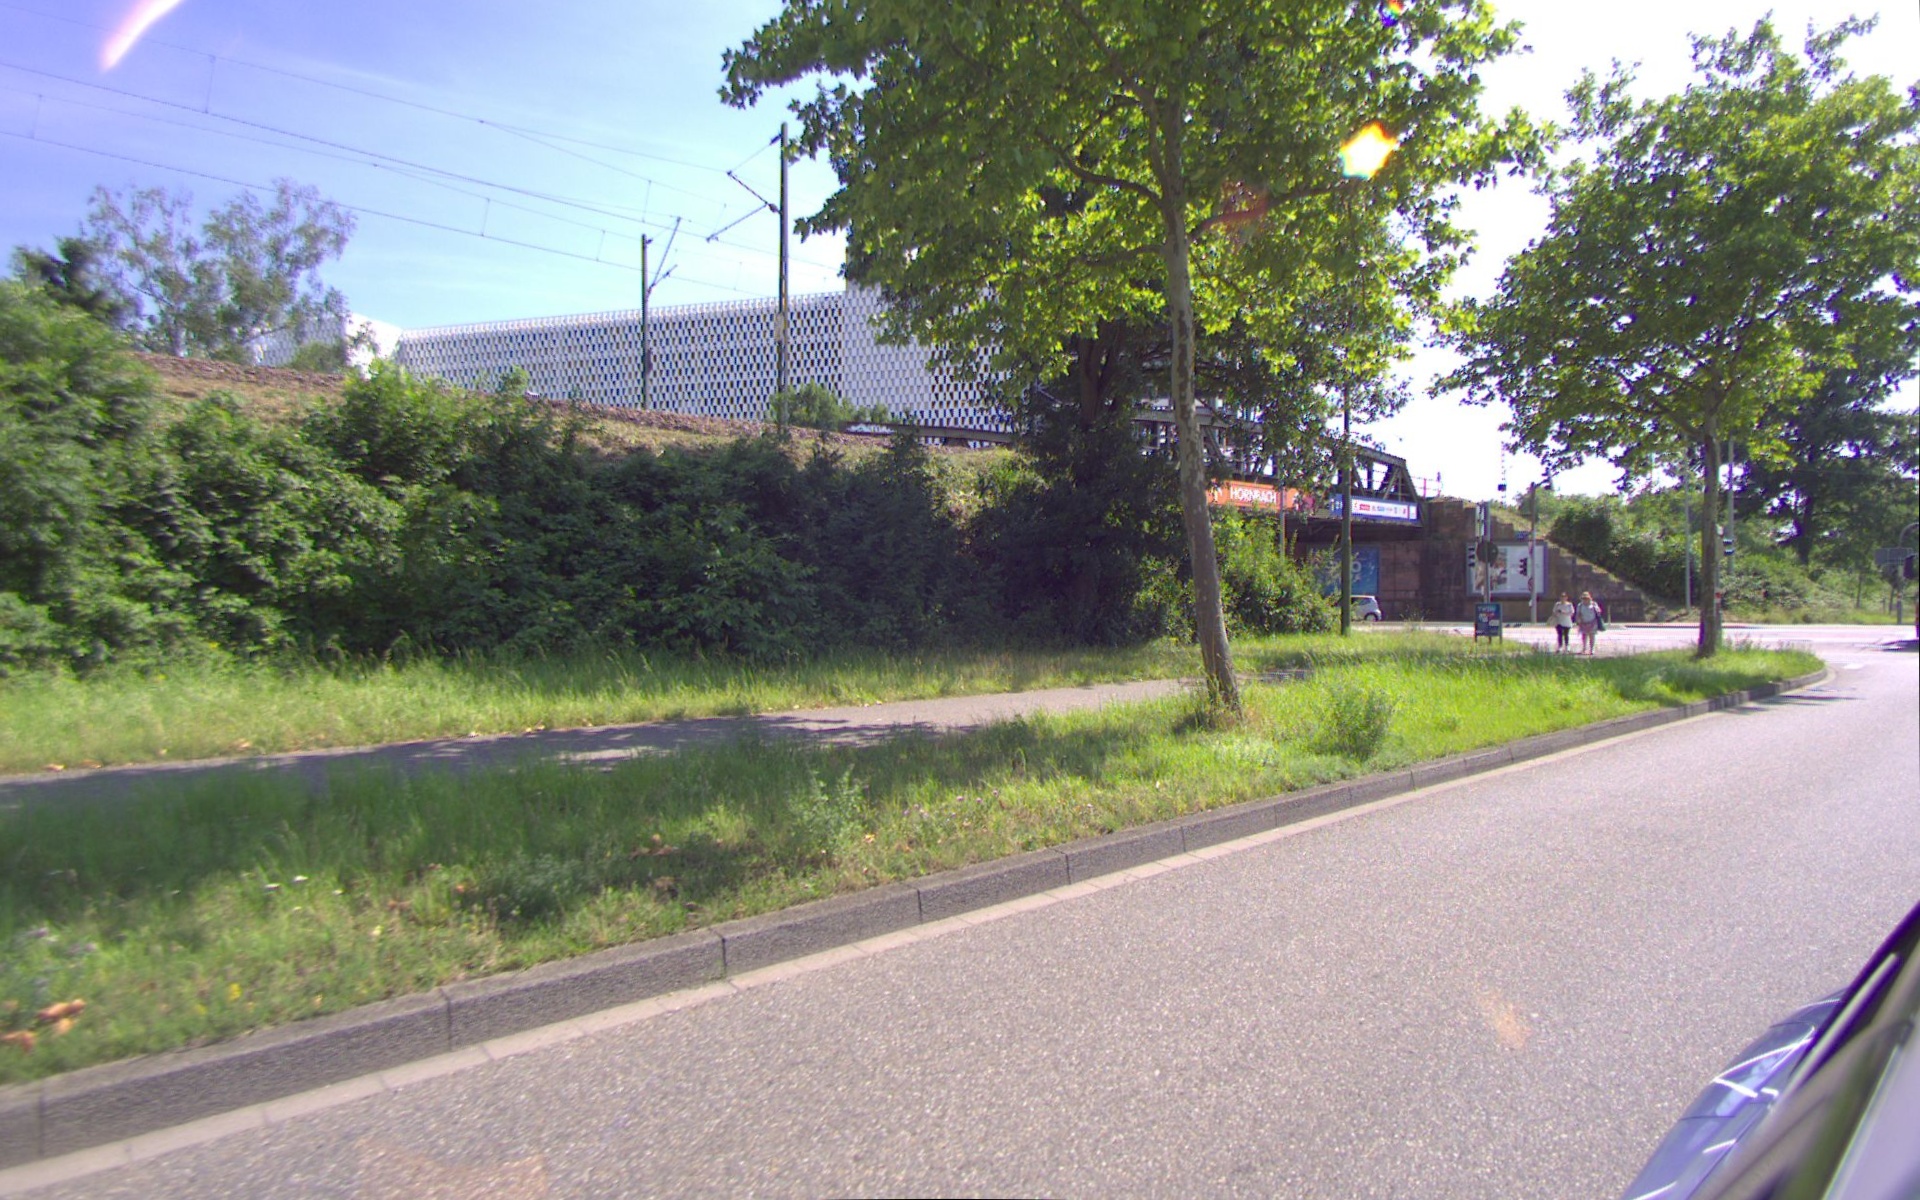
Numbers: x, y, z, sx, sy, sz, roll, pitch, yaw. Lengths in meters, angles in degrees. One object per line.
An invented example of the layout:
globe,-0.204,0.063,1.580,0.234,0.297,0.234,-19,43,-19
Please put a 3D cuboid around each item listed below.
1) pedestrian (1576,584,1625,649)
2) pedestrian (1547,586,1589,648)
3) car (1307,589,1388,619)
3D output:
pedestrian,16.363,0.407,25.840,0.764,1.632,0.869,0,-1,-41
pedestrian,16.022,0.426,26.667,0.764,1.599,0.730,0,-1,-41
car,19.252,0.178,50.428,3.627,1.455,1.697,0,0,17
